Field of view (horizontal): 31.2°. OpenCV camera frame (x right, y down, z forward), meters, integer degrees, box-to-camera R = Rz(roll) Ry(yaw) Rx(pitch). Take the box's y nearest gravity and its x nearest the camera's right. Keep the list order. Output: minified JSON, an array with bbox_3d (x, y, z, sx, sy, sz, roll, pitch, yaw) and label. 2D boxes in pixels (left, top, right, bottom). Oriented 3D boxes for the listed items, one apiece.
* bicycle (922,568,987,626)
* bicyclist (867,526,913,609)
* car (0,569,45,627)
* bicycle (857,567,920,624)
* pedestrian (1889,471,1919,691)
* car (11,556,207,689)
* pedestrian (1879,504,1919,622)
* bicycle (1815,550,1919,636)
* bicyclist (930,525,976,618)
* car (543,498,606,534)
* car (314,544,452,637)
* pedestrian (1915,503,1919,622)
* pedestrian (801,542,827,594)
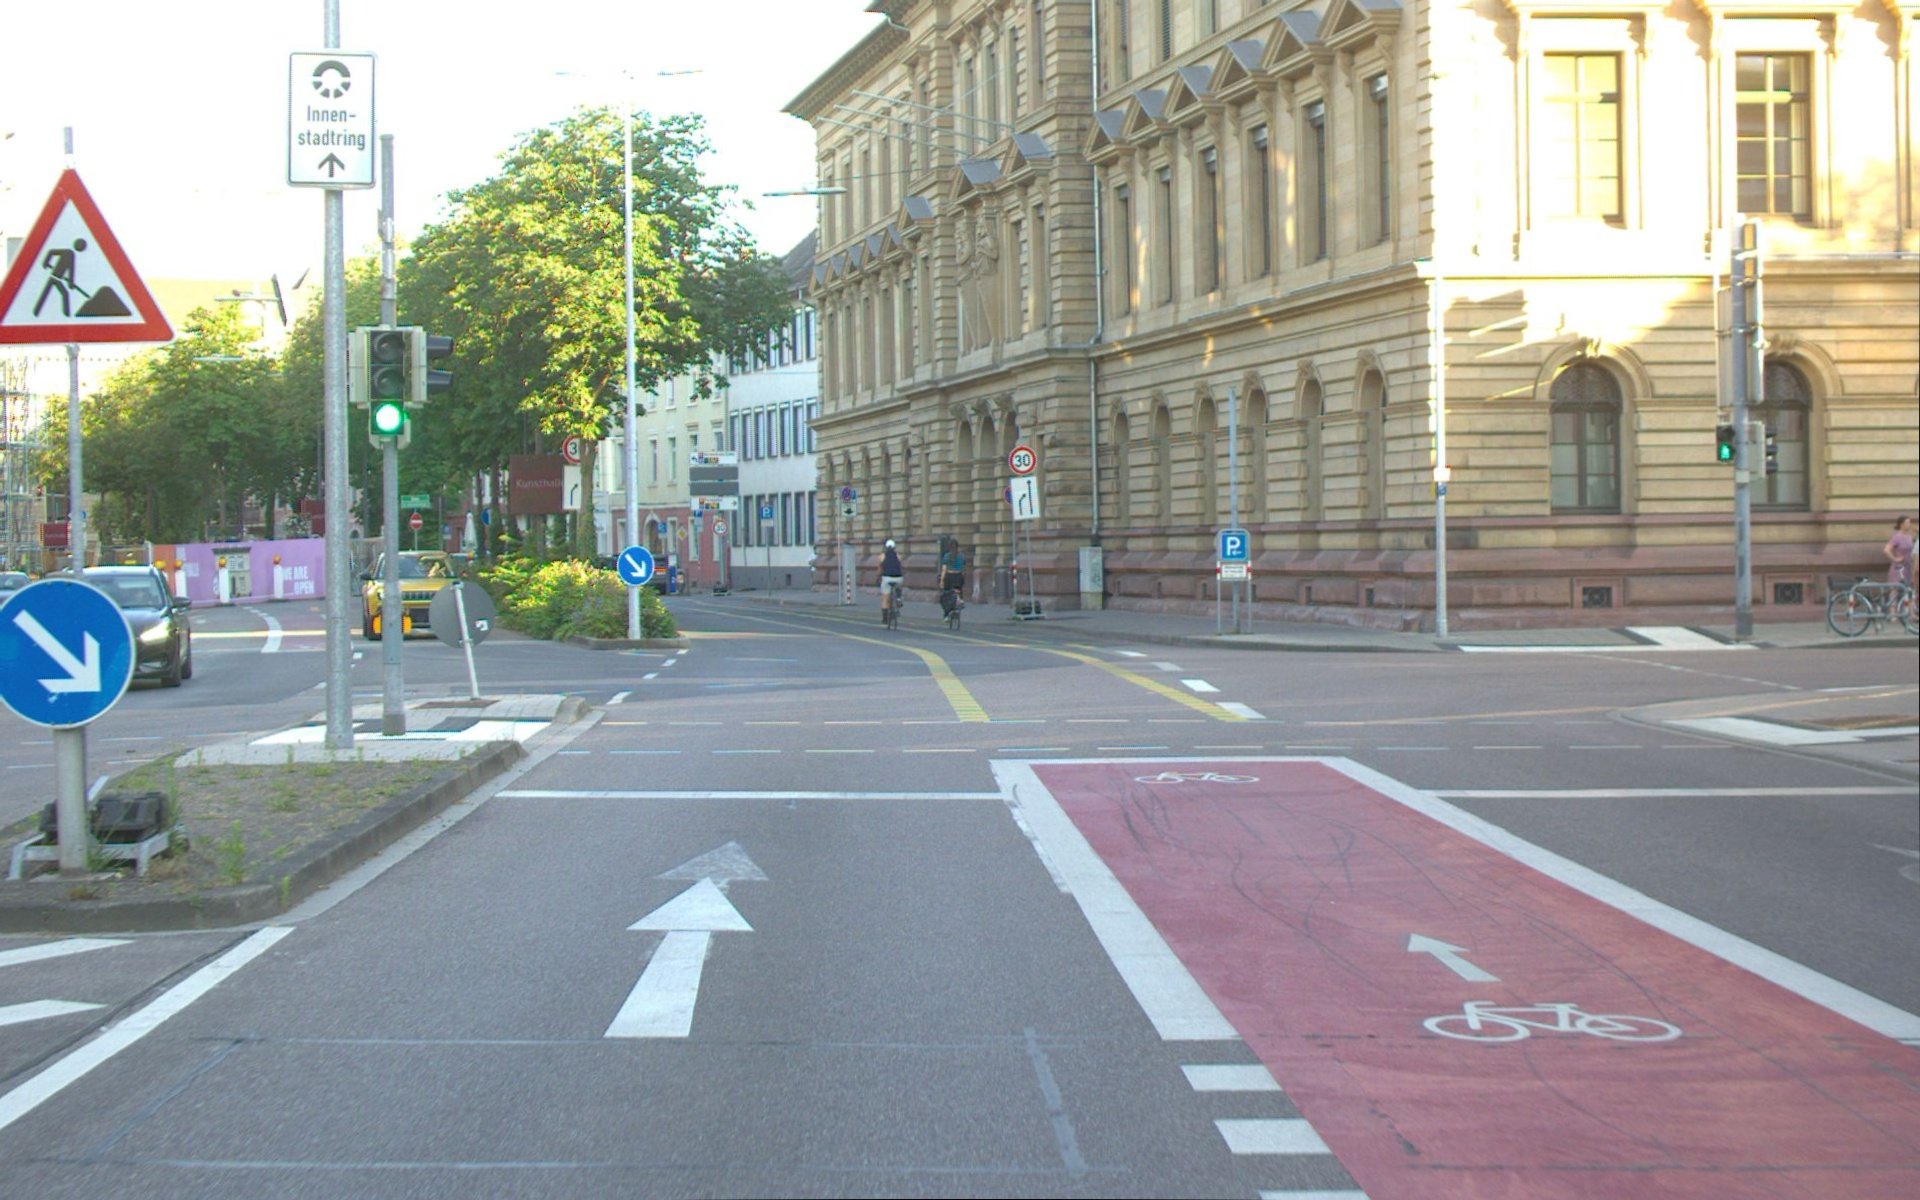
[{"bbox_3d":[-0.119,-0.065,66.186,0.652,1.067,2.259,1,0,-15],"label":"bicycle"},{"bbox_3d":[-1.346,-0.622,65.763,0.668,1.560,0.699,1,0,-17],"label":"bicyclist"},{"bbox_3d":[-23.526,-0.052,84.763,1.679,1.346,3.888,-2,1,-13],"label":"car"},{"bbox_3d":[-1.381,-0.088,65.835,0.669,1.067,1.902,1,0,-18],"label":"bicycle"},{"bbox_3d":[9.011,-0.184,31.766,0.785,2.007,0.994,0,1,13],"label":"pedestrian"},{"bbox_3d":[-10.409,0.233,42.312,1.823,1.503,4.428,-1,1,-7],"label":"car"},{"bbox_3d":[14.781,-0.585,54.089,0.448,1.851,0.427,-2,1,-43],"label":"pedestrian"},{"bbox_3d":[13.860,-0.110,51.140,2.050,1.203,0.862,-1,3,-4],"label":"bicycle"},{"bbox_3d":[-0.136,-0.555,66.270,0.649,1.754,0.864,1,1,-15],"label":"bicyclist"},{"bbox_3d":[-17.382,-3.769,154.776,1.812,1.554,3.866,-1,1,-22],"label":"car"},{"bbox_3d":[-10.135,-0.194,60.651,1.845,1.542,4.119,-1,1,-2],"label":"car"},{"bbox_3d":[15.249,-0.586,53.735,0.535,1.851,0.621,-1,1,23],"label":"pedestrian"},{"bbox_3d":[-5.051,-1.106,118.722,0.816,1.759,1.038,0,1,-6],"label":"pedestrian"}]
